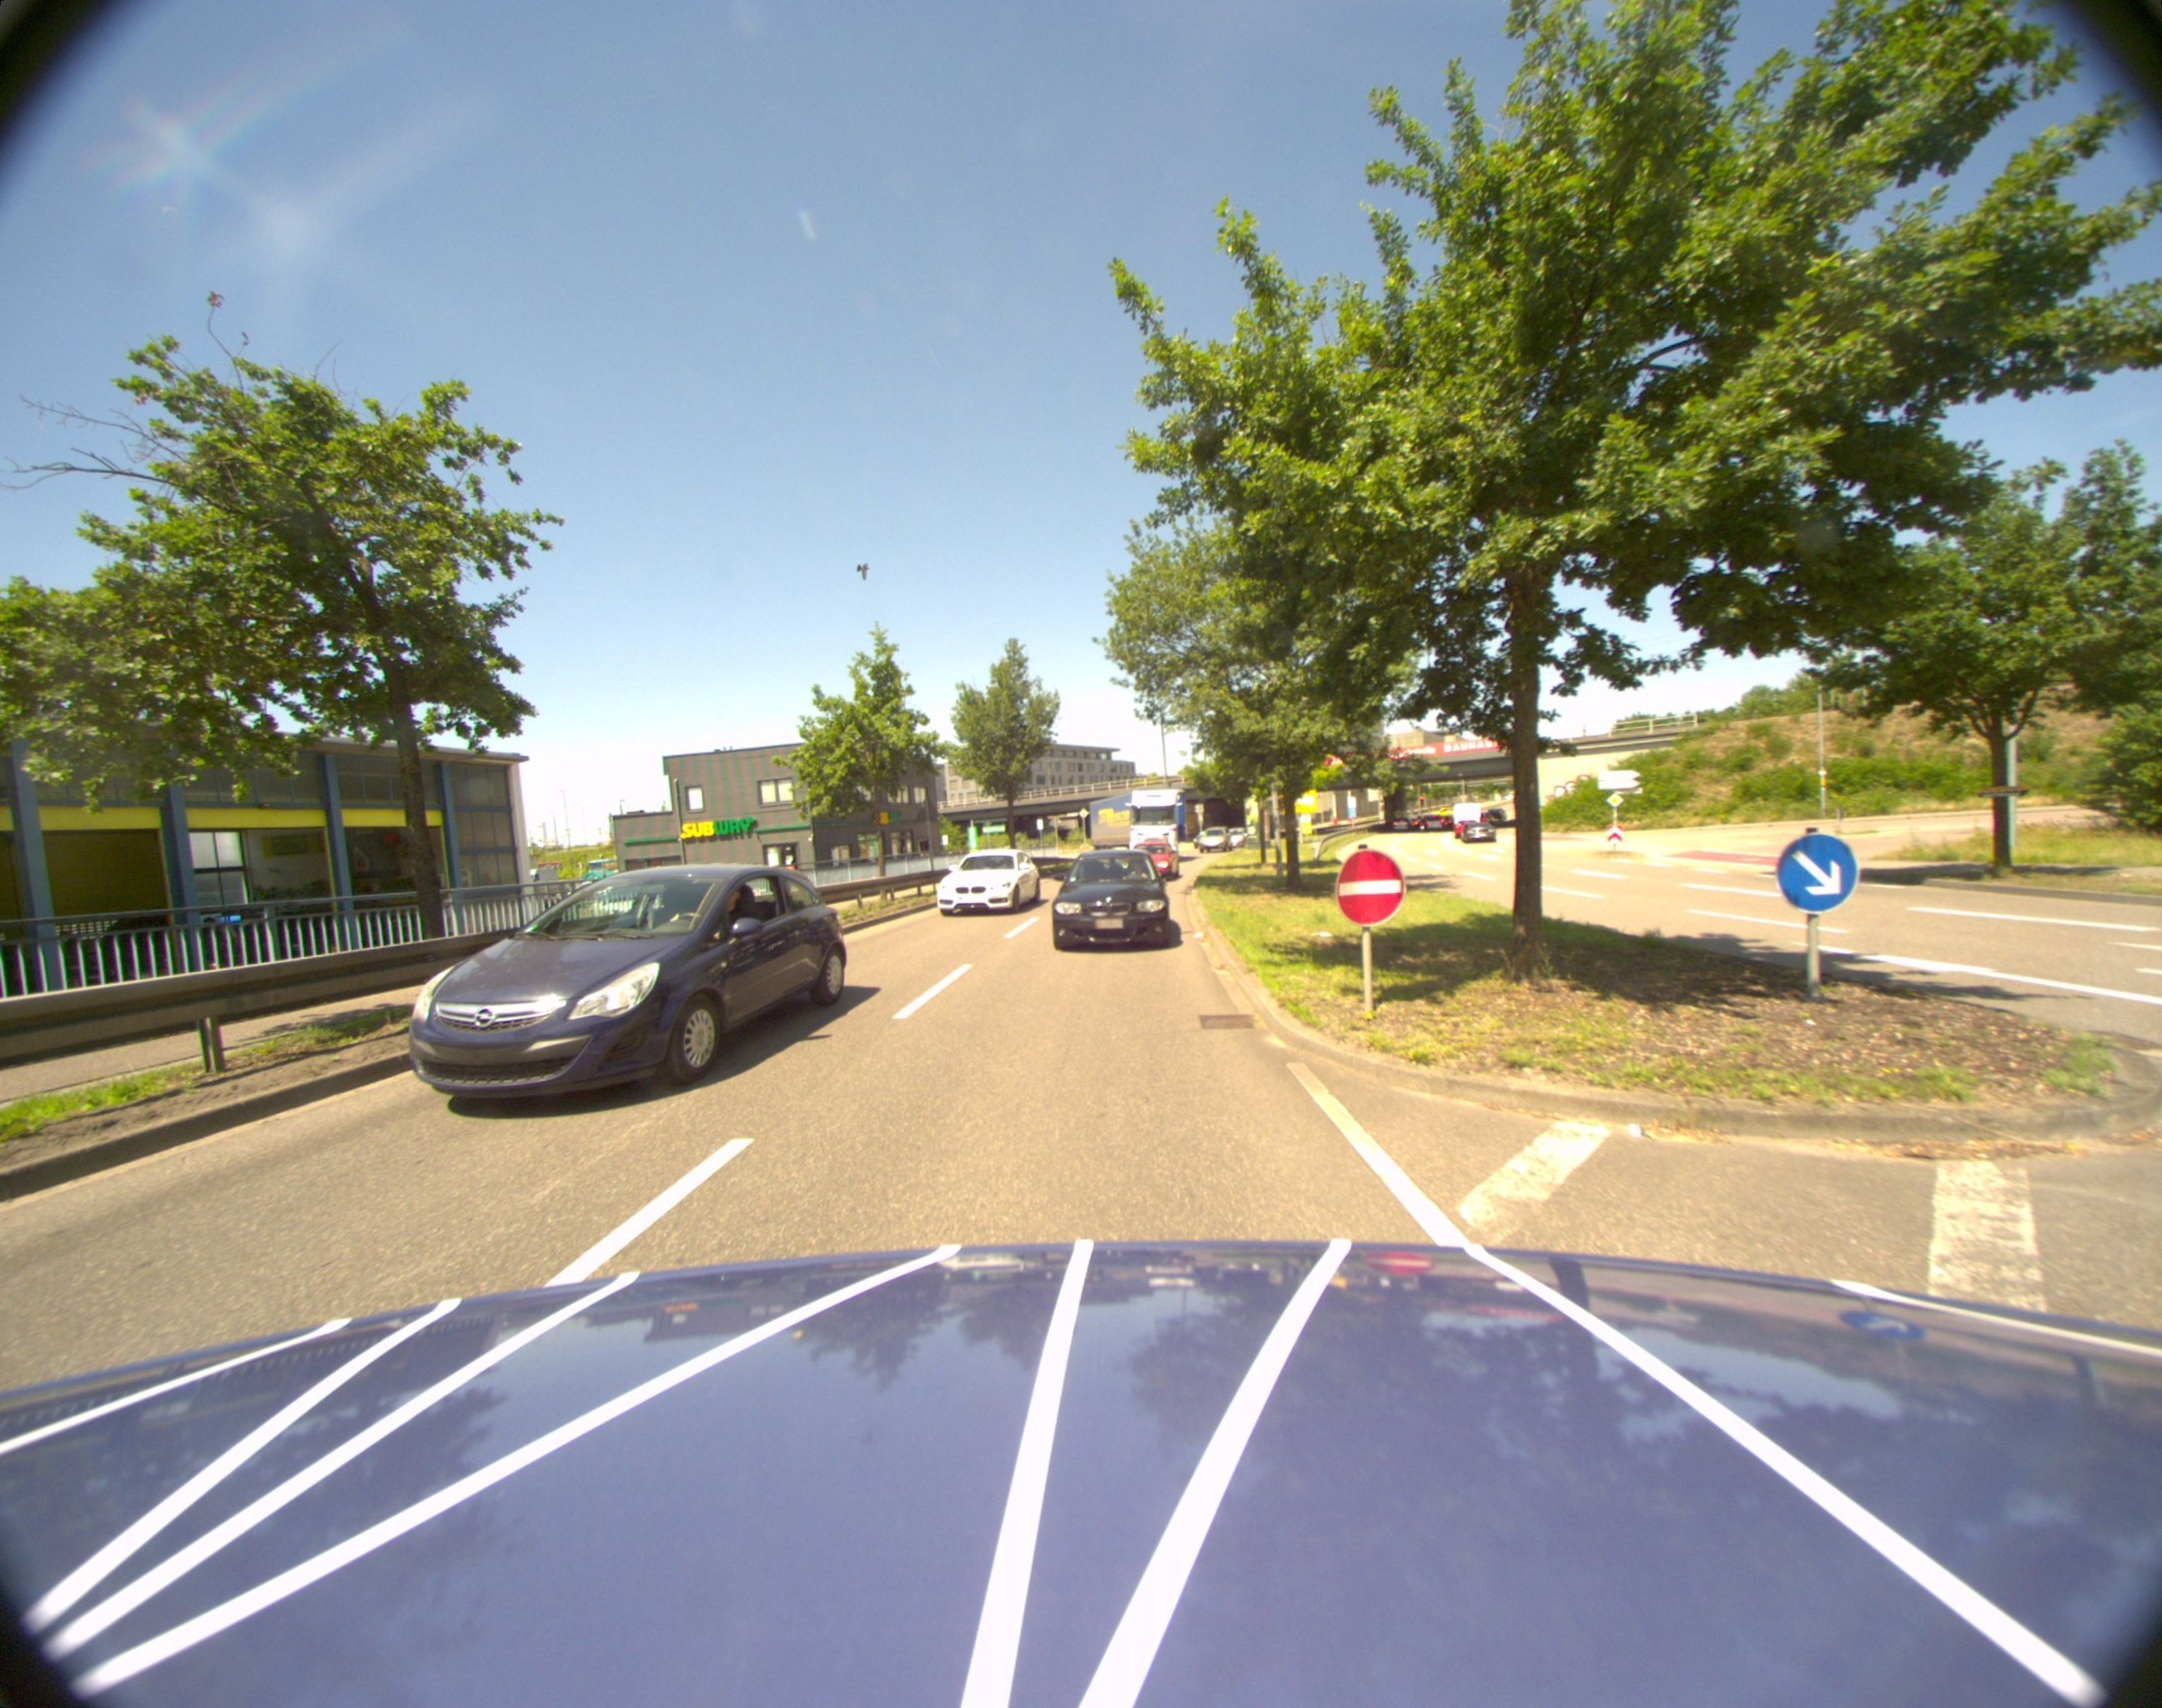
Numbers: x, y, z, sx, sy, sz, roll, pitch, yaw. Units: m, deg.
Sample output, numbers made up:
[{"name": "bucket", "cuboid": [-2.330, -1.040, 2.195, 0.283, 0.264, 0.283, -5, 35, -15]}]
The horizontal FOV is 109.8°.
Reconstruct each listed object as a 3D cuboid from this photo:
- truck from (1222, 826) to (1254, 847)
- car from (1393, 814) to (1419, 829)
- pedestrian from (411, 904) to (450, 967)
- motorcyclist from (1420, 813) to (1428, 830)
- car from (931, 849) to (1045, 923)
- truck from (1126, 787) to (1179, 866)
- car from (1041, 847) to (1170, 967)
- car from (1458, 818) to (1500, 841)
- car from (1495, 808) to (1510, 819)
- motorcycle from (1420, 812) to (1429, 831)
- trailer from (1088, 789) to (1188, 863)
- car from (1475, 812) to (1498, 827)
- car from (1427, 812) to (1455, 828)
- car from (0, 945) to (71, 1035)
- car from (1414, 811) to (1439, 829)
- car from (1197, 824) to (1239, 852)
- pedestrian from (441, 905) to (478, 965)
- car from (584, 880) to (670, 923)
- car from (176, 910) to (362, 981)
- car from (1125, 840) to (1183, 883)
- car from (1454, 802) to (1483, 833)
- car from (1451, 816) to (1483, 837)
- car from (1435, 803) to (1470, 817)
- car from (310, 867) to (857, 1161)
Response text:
[{"name": "truck", "cuboid": [12.463, -1.404, 60.109, 1.728, 1.493, 4.004, -2, 3, 23]}, {"name": "car", "cuboid": [33.245, -3.333, 77.652, 1.635, 1.395, 4.228, 0, 3, 33]}, {"name": "pedestrian", "cuboid": [-18.359, 2.295, 21.452, 0.522, 1.693, 0.488, -2, 3, 10]}, {"name": "motorcyclist", "cuboid": [32.266, -3.041, 71.419, 0.587, 1.617, 0.563, -1, 3, 29]}, {"name": "car", "cuboid": [-2.103, 0.684, 18.421, 1.761, 1.435, 4.053, -1, 2, 7]}, {"name": "truck", "cuboid": [4.149, -1.577, 43.089, 2.572, 4.079, 5.763, -3, 3, 8]}, {"name": "car", "cuboid": [0.477, 0.709, 12.318, 1.681, 1.409, 4.055, -3, 2, 4]}, {"name": "car", "cuboid": [26.346, -1.664, 50.424, 1.811, 1.326, 4.573, -2, 3, 20]}, {"name": "car", "cuboid": [52.294, -5.017, 94.256, 1.183, 1.241, 2.697, -1, 3, 40]}, {"name": "motorcycle", "cuboid": [32.361, -3.066, 71.584, 0.598, 1.669, 2.429, -1, 3, 29]}, {"name": "trailer", "cuboid": [3.311, -1.711, 50.050, 2.501, 4.067, 13.887, -4, 2, -12]}, {"name": "car", "cuboid": [45.281, -3.867, 84.794, 1.570, 1.494, 3.412, -1, 3, 40]}, {"name": "car", "cuboid": [35.299, -3.334, 74.371, 1.635, 1.558, 4.080, 0, 3, 37]}, {"name": "car", "cuboid": [-23.946, 2.935, 15.839, 3.675, 1.675, 1.650, -3, 3, 4]}, {"name": "car", "cuboid": [40.277, -3.949, 88.544, 1.903, 1.850, 4.006, -1, 3, 36]}, {"name": "car", "cuboid": [9.605, -1.144, 53.149, 1.842, 1.686, 3.704, -2, 3, 27]}, {"name": "pedestrian", "cuboid": [-18.230, 2.370, 22.288, 0.427, 1.693, 0.589, -3, 3, 9]}, {"name": "car", "cuboid": [-18.598, 1.877, 31.009, 2.003, 1.350, 5.068, -5, 3, -42]}, {"name": "car", "cuboid": [-23.407, 2.620, 21.983, 3.675, 1.675, 1.650, -3, 3, 5]}, {"name": "car", "cuboid": [2.750, 0.226, 28.056, 1.645, 1.391, 4.054, -1, 2, 12]}, {"name": "car", "cuboid": [33.940, -3.160, 66.530, 2.096, 2.486, 5.819, -1, 1, 27]}, {"name": "car", "cuboid": [29.193, -2.130, 57.571, 1.832, 1.429, 4.531, -2, 3, 23]}, {"name": "car", "cuboid": [55.026, -6.555, 112.507, 4.314, 1.850, 1.873, -3, 3, 11]}, {"name": "car", "cuboid": [-3.367, 0.944, 6.198, 1.650, 1.436, 3.891, -3, 1, 3]}]
